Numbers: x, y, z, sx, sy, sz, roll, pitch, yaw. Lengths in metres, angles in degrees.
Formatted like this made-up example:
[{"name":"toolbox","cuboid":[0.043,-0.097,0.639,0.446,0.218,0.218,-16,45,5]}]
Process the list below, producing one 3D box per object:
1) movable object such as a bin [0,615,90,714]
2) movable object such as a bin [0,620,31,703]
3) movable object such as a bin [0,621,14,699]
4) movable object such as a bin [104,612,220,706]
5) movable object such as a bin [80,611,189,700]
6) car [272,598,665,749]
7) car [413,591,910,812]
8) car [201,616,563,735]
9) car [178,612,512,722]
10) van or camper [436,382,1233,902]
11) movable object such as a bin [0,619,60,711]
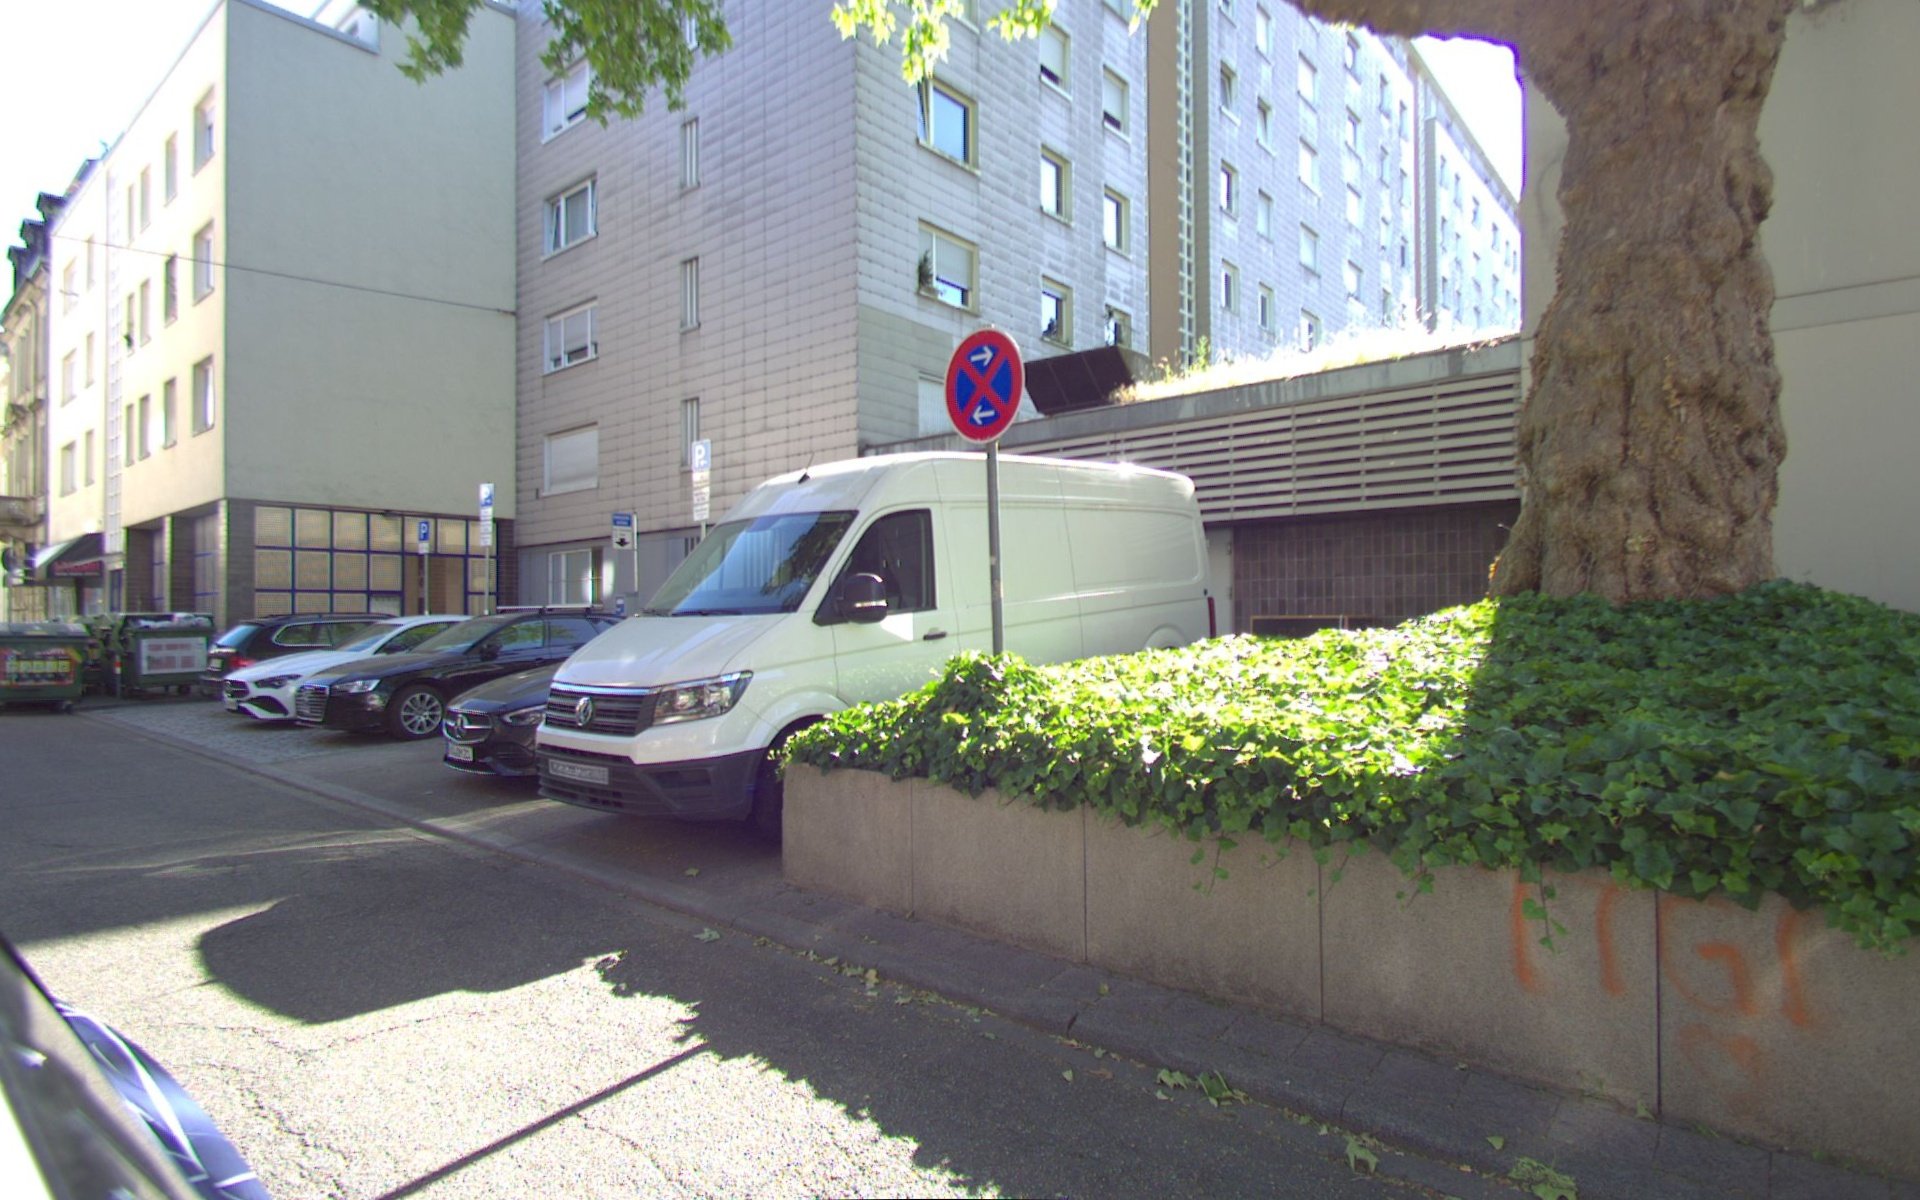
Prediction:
[{"name":"movable object such as a bin","cuboid":[-15.069,1.017,16.369,1.876,1.512,1.225,-2,-3,41]},{"name":"movable object such as a bin","cuboid":[-18.309,1.145,18.870,1.558,1.512,1.207,-2,-2,38]},{"name":"movable object such as a bin","cuboid":[-19.557,1.180,19.863,1.558,1.512,1.207,-2,-2,38]},{"name":"movable object such as a bin","cuboid":[-13.603,0.976,17.264,1.193,1.512,1.312,-2,-2,38]},{"name":"movable object such as a bin","cuboid":[-14.763,0.963,18.094,1.515,1.512,1.207,-2,-2,38]},{"name":"car","cuboid":[-6.155,0.835,13.210,1.694,1.629,4.367,-1,-2,34]},{"name":"car","cuboid":[-2.586,0.754,9.725,1.697,1.545,4.361,-2,0,39]},{"name":"car","cuboid":[-8.216,0.987,14.808,1.595,1.474,4.367,-2,-2,34]},{"name":"car","cuboid":[-9.801,0.985,16.491,1.694,1.545,4.367,-2,-2,34]},{"name":"van or camper","cuboid":[-0.258,0.090,8.297,1.999,2.593,6.835,-2,1,41]},{"name":"movable object such as a bin","cuboid":[-16.604,1.100,17.510,1.923,1.512,1.231,-2,-2,38]}]
